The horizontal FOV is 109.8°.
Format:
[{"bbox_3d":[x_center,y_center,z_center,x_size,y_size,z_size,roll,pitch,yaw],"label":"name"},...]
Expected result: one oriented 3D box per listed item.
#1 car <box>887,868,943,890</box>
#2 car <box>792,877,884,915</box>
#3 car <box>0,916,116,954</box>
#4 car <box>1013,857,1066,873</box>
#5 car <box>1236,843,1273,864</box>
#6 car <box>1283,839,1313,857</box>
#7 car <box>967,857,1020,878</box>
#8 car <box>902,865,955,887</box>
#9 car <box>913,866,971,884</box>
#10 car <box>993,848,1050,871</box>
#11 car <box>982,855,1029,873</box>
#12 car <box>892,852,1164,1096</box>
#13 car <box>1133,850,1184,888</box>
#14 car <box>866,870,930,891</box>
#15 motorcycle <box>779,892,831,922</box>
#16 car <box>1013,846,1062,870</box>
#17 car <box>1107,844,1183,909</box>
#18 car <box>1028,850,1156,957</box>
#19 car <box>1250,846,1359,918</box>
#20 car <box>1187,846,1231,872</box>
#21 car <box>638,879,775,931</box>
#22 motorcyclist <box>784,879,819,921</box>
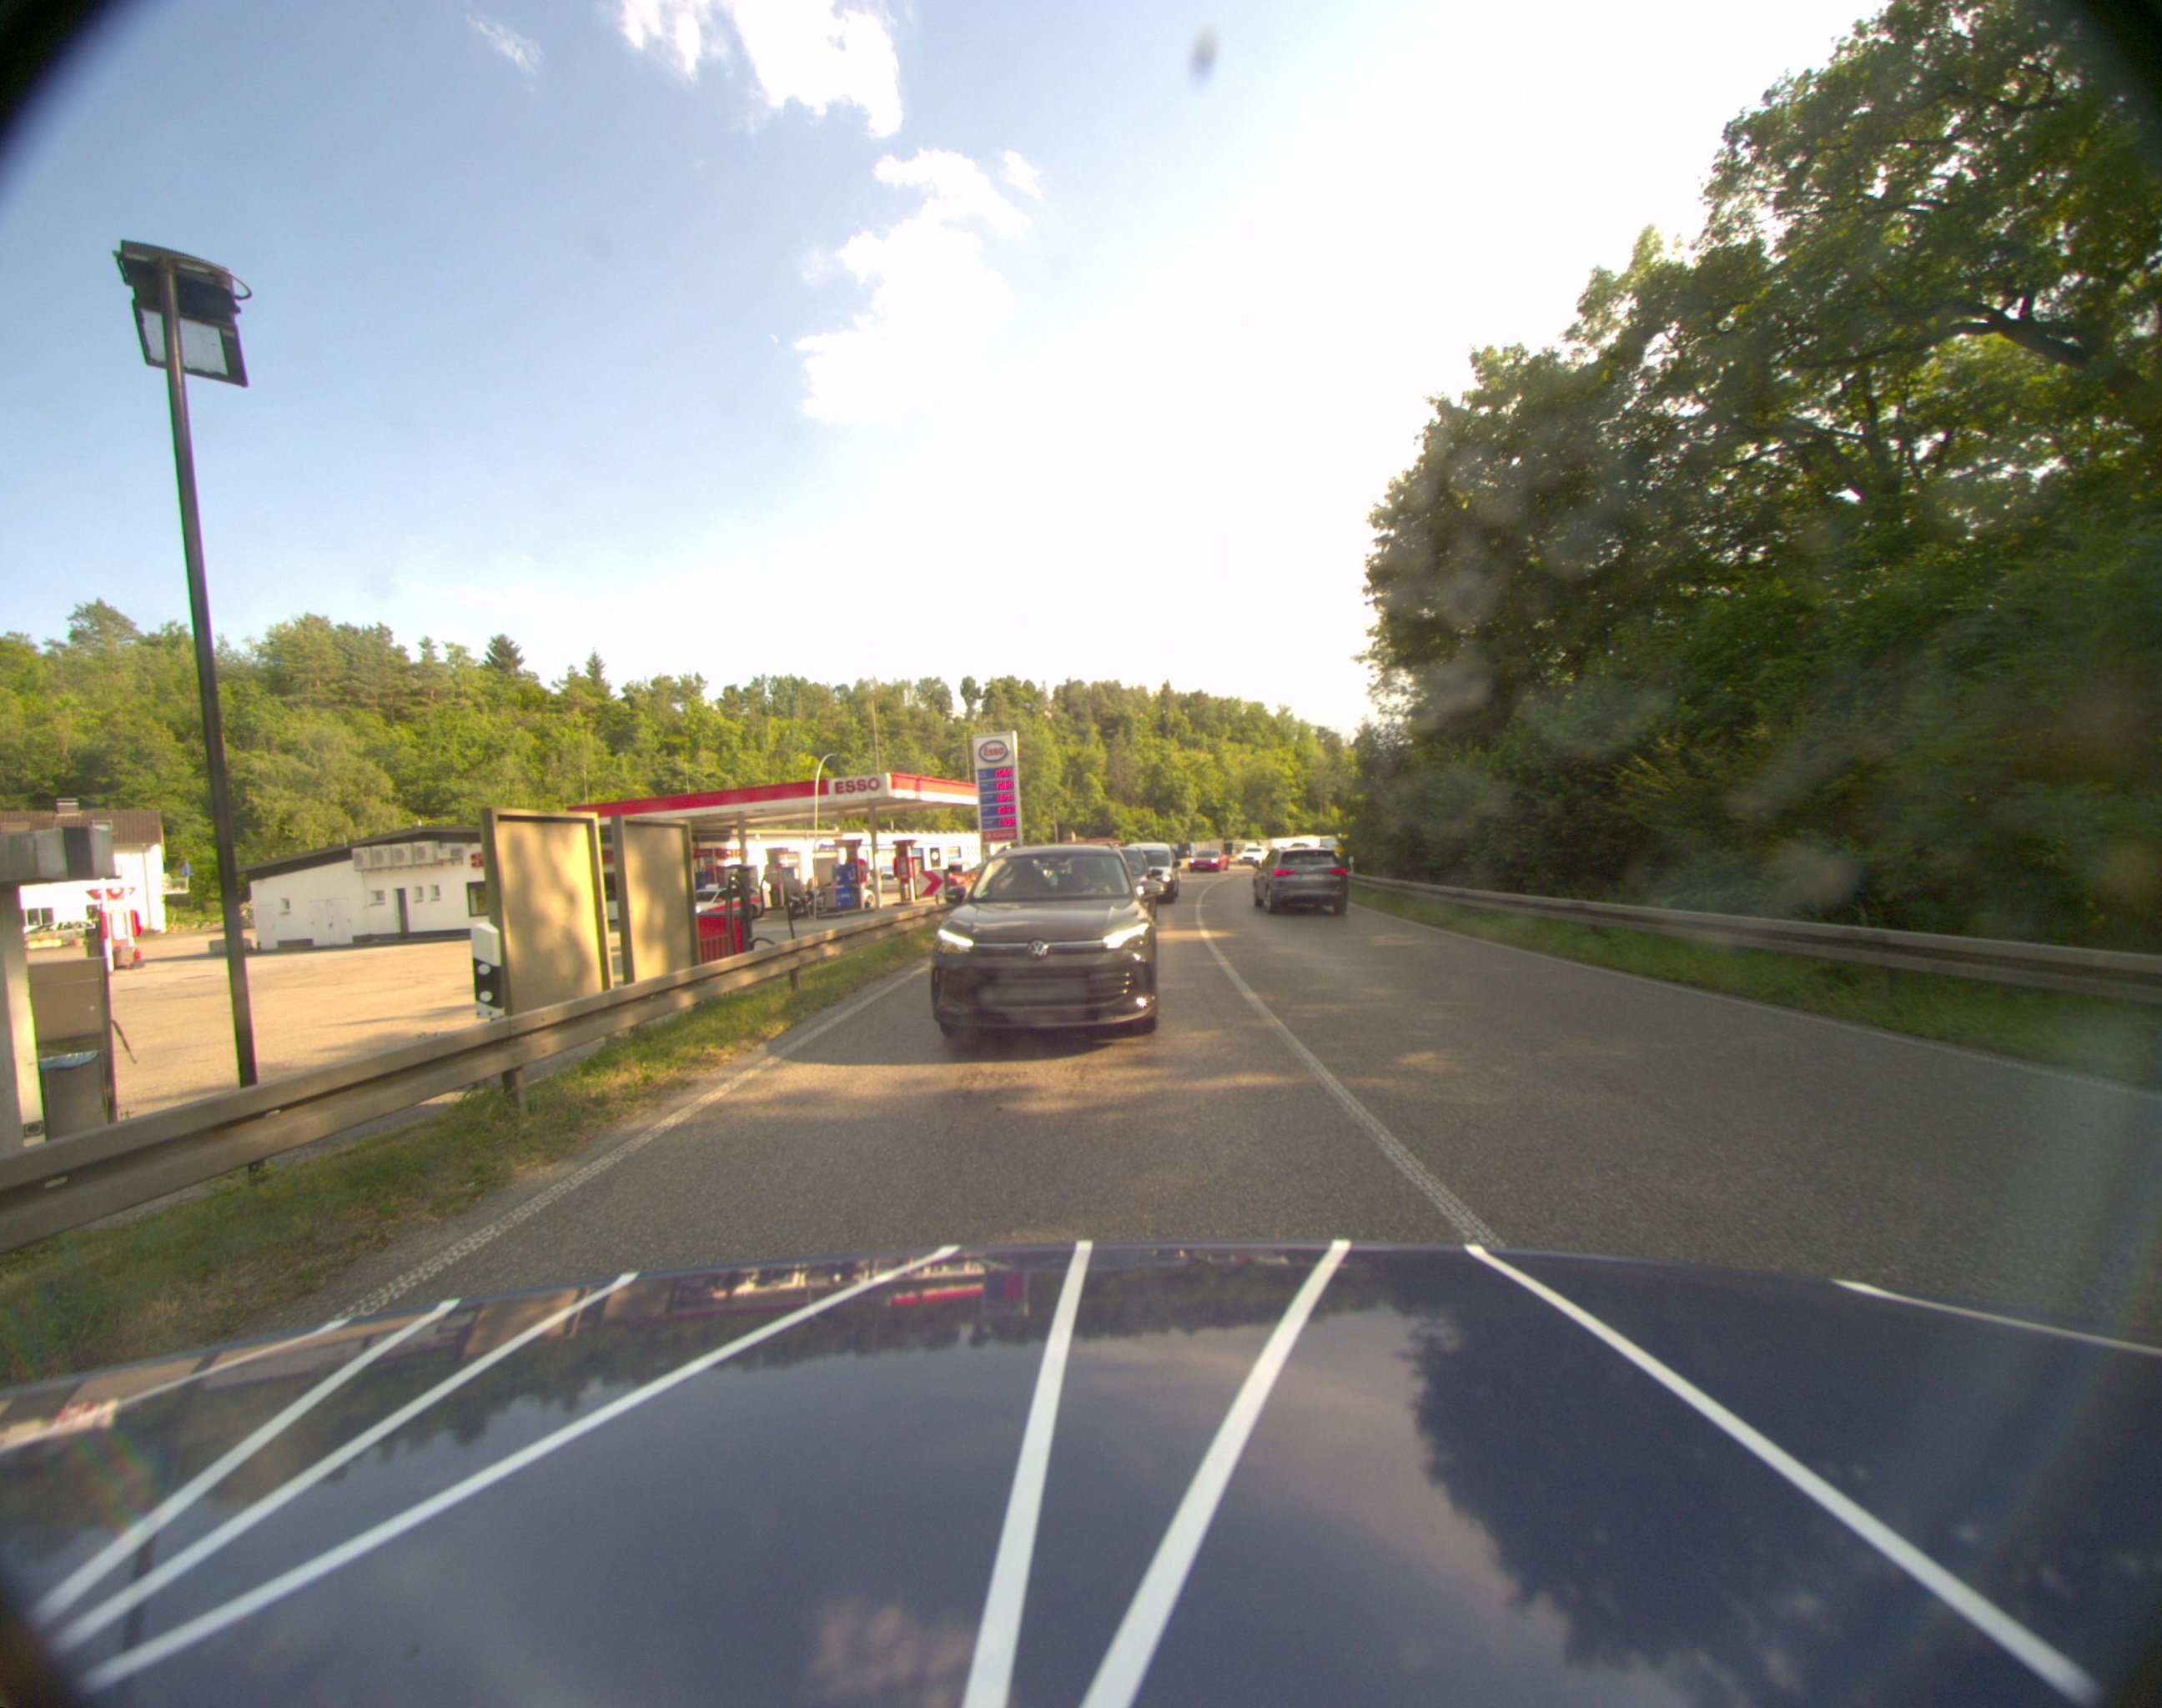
[{"bbox_3d":[-12.285,1.813,56.300,3.555,1.398,1.692,-3,1,15],"label":"car"},{"bbox_3d":[-10.998,1.873,34.705,1.845,1.311,4.394,-3,0,15],"label":"car"},{"bbox_3d":[-65.115,5.113,47.810,2.694,1.826,5.175,-4,0,41],"label":"car"},{"bbox_3d":[-4.000,1.097,73.488,4.727,1.426,1.959,-1,1,13],"label":"car"},{"bbox_3d":[14.026,-0.074,61.289,1.912,1.457,4.543,-4,0,25],"label":"car"},{"bbox_3d":[21.854,-0.645,76.452,1.856,1.587,4.544,-4,0,28],"label":"car"},{"bbox_3d":[-7.780,1.197,67.746,4.254,1.719,1.893,-1,1,12],"label":"car"},{"bbox_3d":[-11.730,1.687,58.457,3.549,1.437,1.735,-3,1,15],"label":"car"},{"bbox_3d":[-11.070,1.685,60.487,4.072,1.340,1.896,-1,1,15],"label":"car"},{"bbox_3d":[-6.325,0.587,81.042,5.481,2.261,2.297,-1,1,15],"label":"car"},{"bbox_3d":[-7.538,1.017,76.437,4.246,1.601,1.896,-2,1,15],"label":"car"},{"bbox_3d":[-0.213,0.853,7.560,1.859,1.630,4.442,-2,0,4],"label":"car"},{"bbox_3d":[3.510,0.610,33.766,1.895,1.437,4.478,-4,0,9],"label":"car"},{"bbox_3d":[-12.922,1.864,53.810,3.963,1.347,1.778,-2,1,11],"label":"car"},{"bbox_3d":[-11.274,2.165,31.165,0.763,1.006,2.343,-3,1,14],"label":"motorcycle"},{"bbox_3d":[-4.859,0.414,84.602,4.915,2.435,2.209,-2,1,13],"label":"car"},{"bbox_3d":[2.102,0.615,23.570,1.866,1.711,4.766,-1,2,10],"label":"car"},{"bbox_3d":[0.368,0.764,13.892,1.847,1.561,4.259,-2,1,7],"label":"car"},{"bbox_3d":[5.399,0.643,18.842,1.871,1.555,4.002,-2,-1,6],"label":"car"},{"bbox_3d":[8.240,0.262,48.622,1.857,1.412,4.424,-4,0,20],"label":"car"},{"bbox_3d":[-15.088,2.021,31.055,2.095,1.618,5.185,-3,0,14],"label":"car"},{"bbox_3d":[-11.360,1.866,30.929,0.859,1.595,0.928,-3,1,14],"label":"motorcyclist"}]
